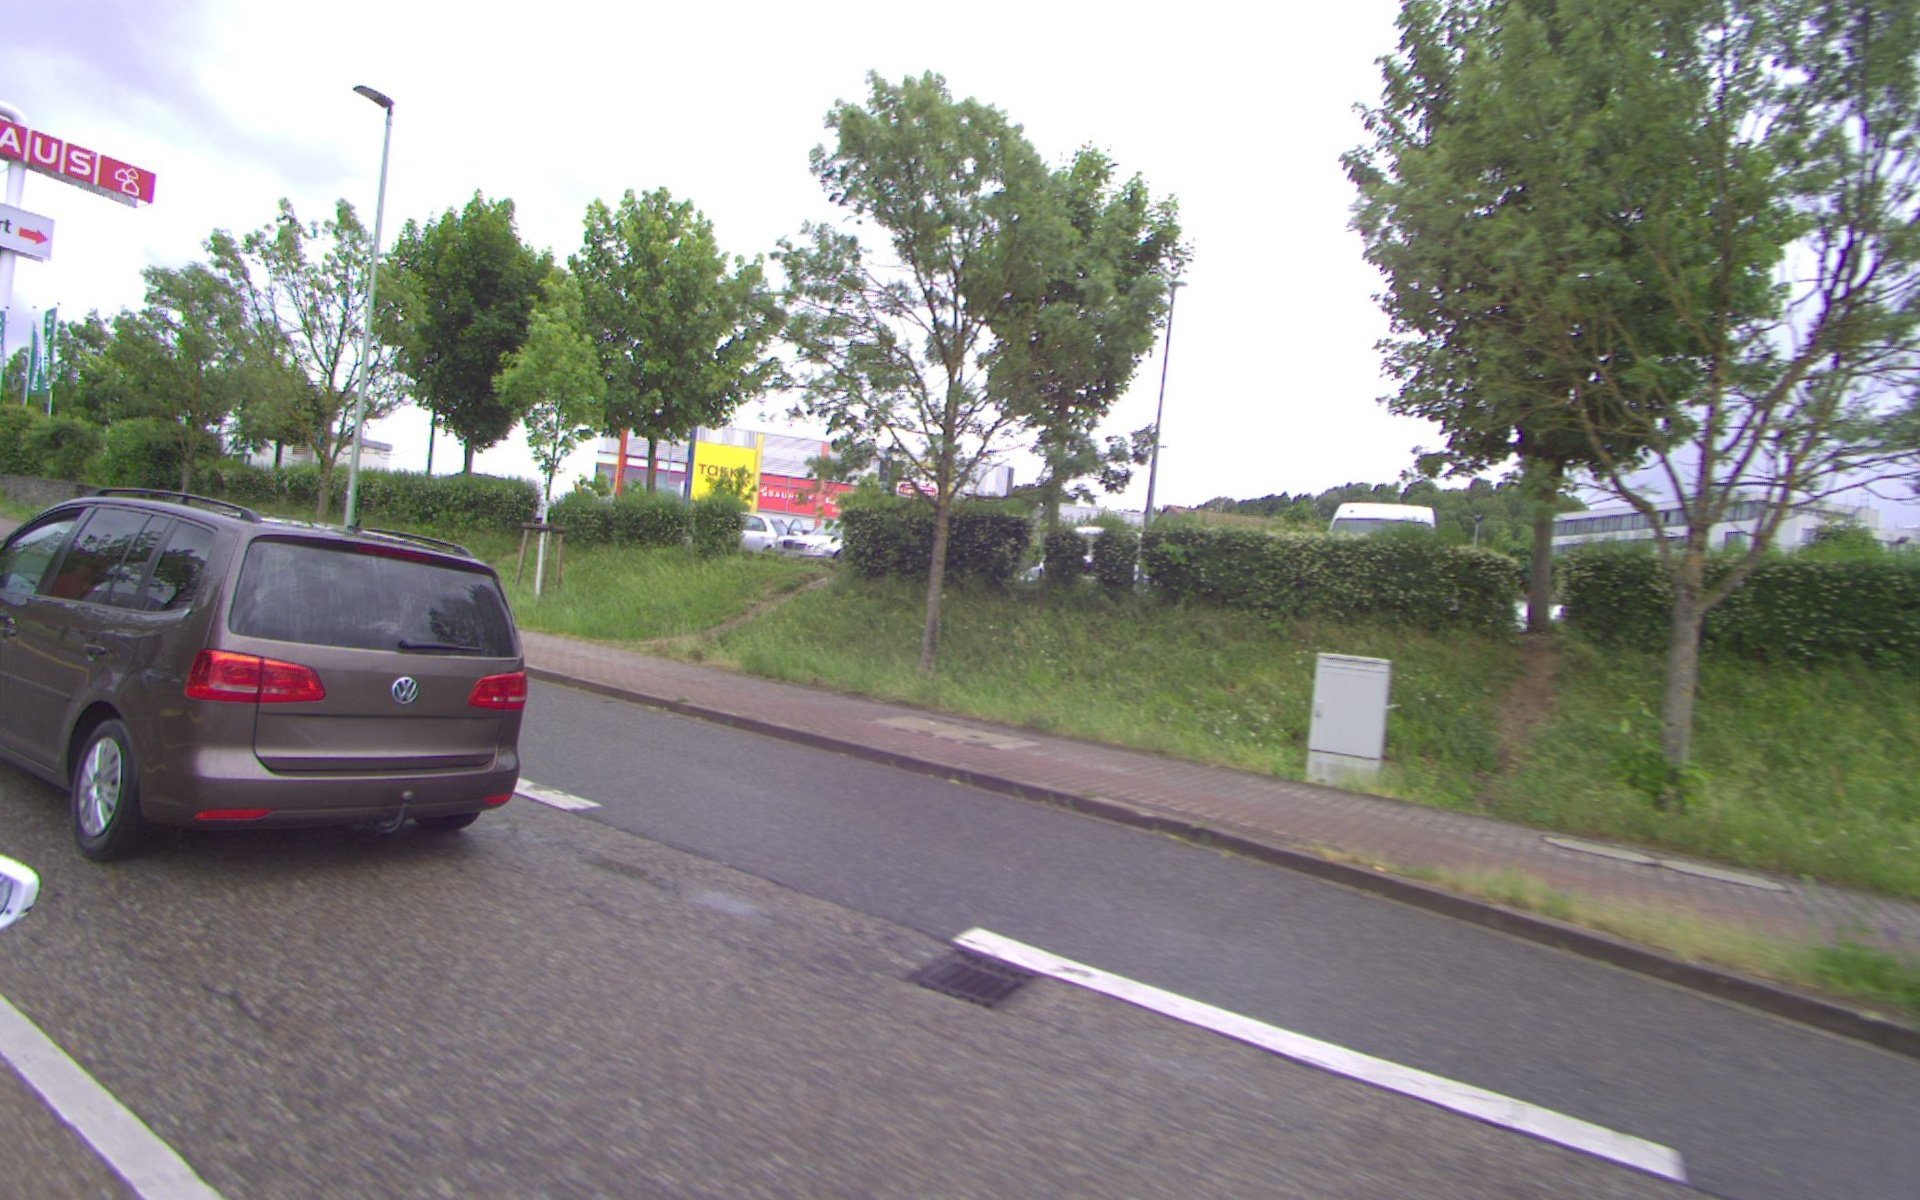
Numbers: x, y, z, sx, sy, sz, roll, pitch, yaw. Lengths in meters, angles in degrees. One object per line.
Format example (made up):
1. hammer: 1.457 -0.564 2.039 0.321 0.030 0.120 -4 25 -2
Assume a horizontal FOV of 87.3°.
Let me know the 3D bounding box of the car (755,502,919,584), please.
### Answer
1. car: -2.970 -1.361 25.198 1.894 1.651 4.352 6 2 26

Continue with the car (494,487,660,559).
1. car: -11.122 -2.194 29.518 1.894 1.651 4.352 6 2 26

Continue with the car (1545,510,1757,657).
1. car: 12.470 -0.268 18.623 2.084 2.171 5.615 6 2 24

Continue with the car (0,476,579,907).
1. car: -4.314 0.275 5.694 4.148 1.599 1.689 7 -2 31

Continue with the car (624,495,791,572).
1. car: -6.663 -1.724 27.015 1.894 1.651 4.352 6 2 26

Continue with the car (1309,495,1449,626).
1. car: 8.571 -0.704 20.421 2.084 2.171 5.615 6 2 24

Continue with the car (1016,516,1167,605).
1. car: 3.047 -0.815 22.478 1.894 1.651 4.352 6 2 26

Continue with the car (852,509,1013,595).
1. car: -0.529 -1.075 23.799 1.894 1.651 4.352 6 2 26
